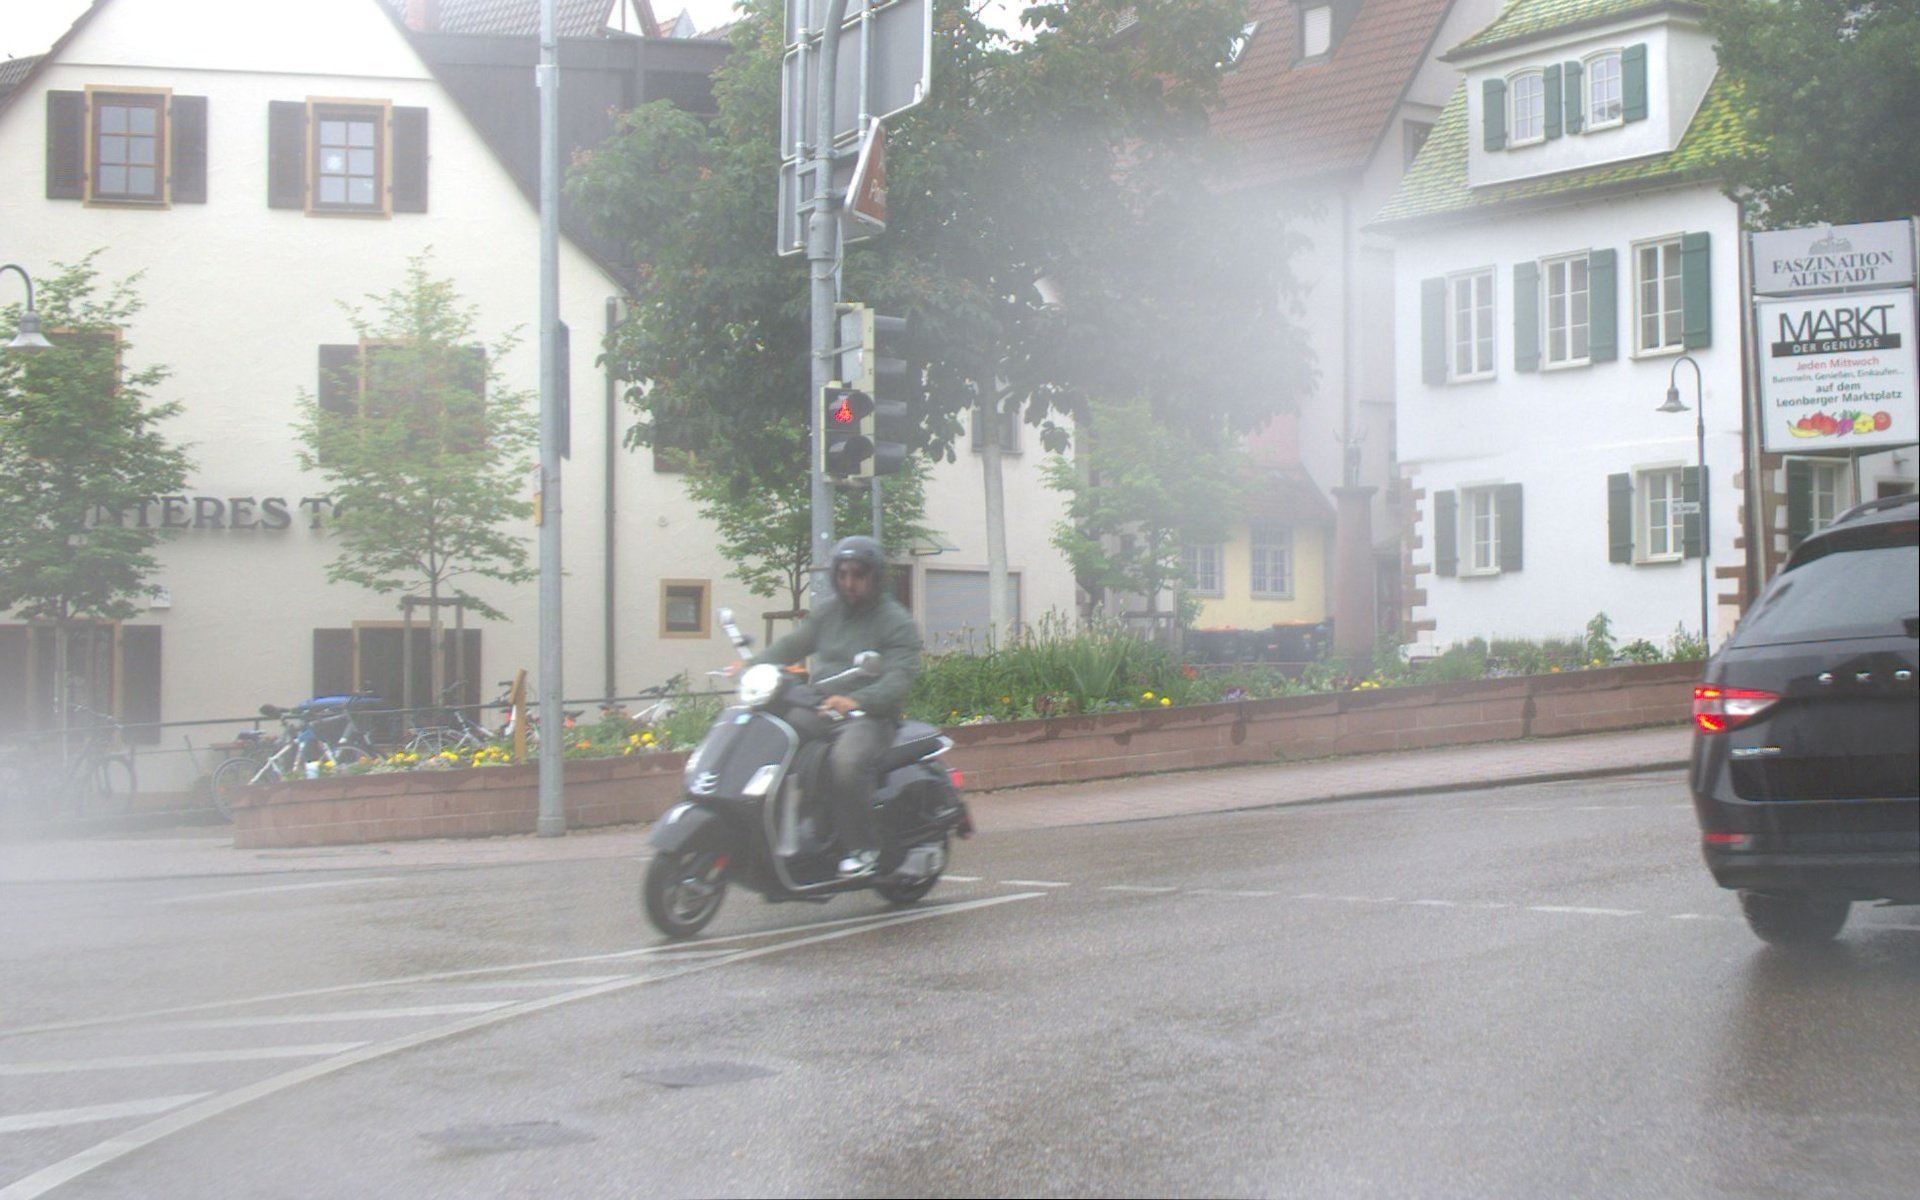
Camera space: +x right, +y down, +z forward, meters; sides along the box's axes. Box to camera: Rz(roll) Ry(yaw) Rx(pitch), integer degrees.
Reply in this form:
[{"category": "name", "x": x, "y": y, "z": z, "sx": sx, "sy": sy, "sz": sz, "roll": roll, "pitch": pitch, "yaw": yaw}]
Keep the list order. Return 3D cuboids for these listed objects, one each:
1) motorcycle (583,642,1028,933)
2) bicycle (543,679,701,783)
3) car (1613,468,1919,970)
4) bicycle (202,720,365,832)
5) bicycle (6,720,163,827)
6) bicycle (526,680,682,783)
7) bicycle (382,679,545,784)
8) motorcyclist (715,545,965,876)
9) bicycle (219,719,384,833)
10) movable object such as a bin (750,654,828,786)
[{"category": "motorcycle", "x": -0.616, "y": 0.754, "z": 14.426, "sx": 0.770, "sy": 1.127, "sz": 1.912, "roll": -2, "pitch": -2, "yaw": 39}, {"category": "bicycle", "x": -3.172, "y": 1.222, "z": 32.332, "sx": 1.465, "sy": 0.909, "sz": 0.392, "roll": -1, "pitch": 1, "yaw": -34}, {"category": "car", "x": 3.963, "y": 0.259, "z": 11.723, "sx": 1.890, "sy": 1.443, "sz": 4.349, "roll": 0, "pitch": 2, "yaw": 33}, {"category": "bicycle", "x": -6.019, "y": 1.558, "z": 30.636, "sx": 0.392, "sy": 0.909, "sz": 1.466, "roll": 1, "pitch": 2, "yaw": 43}, {"category": "bicycle", "x": -7.467, "y": 1.470, "z": 29.358, "sx": 0.338, "sy": 0.816, "sz": 1.434, "roll": 1, "pitch": 2, "yaw": 34}, {"category": "bicycle", "x": -3.380, "y": 1.241, "z": 32.702, "sx": 1.465, "sy": 0.909, "sz": 0.392, "roll": -1, "pitch": 1, "yaw": -34}, {"category": "bicycle", "x": -4.582, "y": 1.205, "z": 31.750, "sx": 1.465, "sy": 0.909, "sz": 0.392, "roll": -1, "pitch": 1, "yaw": -34}, {"category": "motorcyclist", "x": -0.508, "y": 0.454, "z": 14.569, "sx": 0.810, "sy": 1.349, "sz": 0.667, "roll": 0, "pitch": -1, "yaw": 40}, {"category": "bicycle", "x": -5.775, "y": 1.535, "z": 30.196, "sx": 0.392, "sy": 0.909, "sz": 1.466, "roll": 1, "pitch": 2, "yaw": 43}, {"category": "movable object such as a bin", "x": -1.678, "y": 1.168, "z": 33.646, "sx": 0.683, "sy": 1.272, "sz": 0.748, "roll": 1, "pitch": -1, "yaw": -8}]
